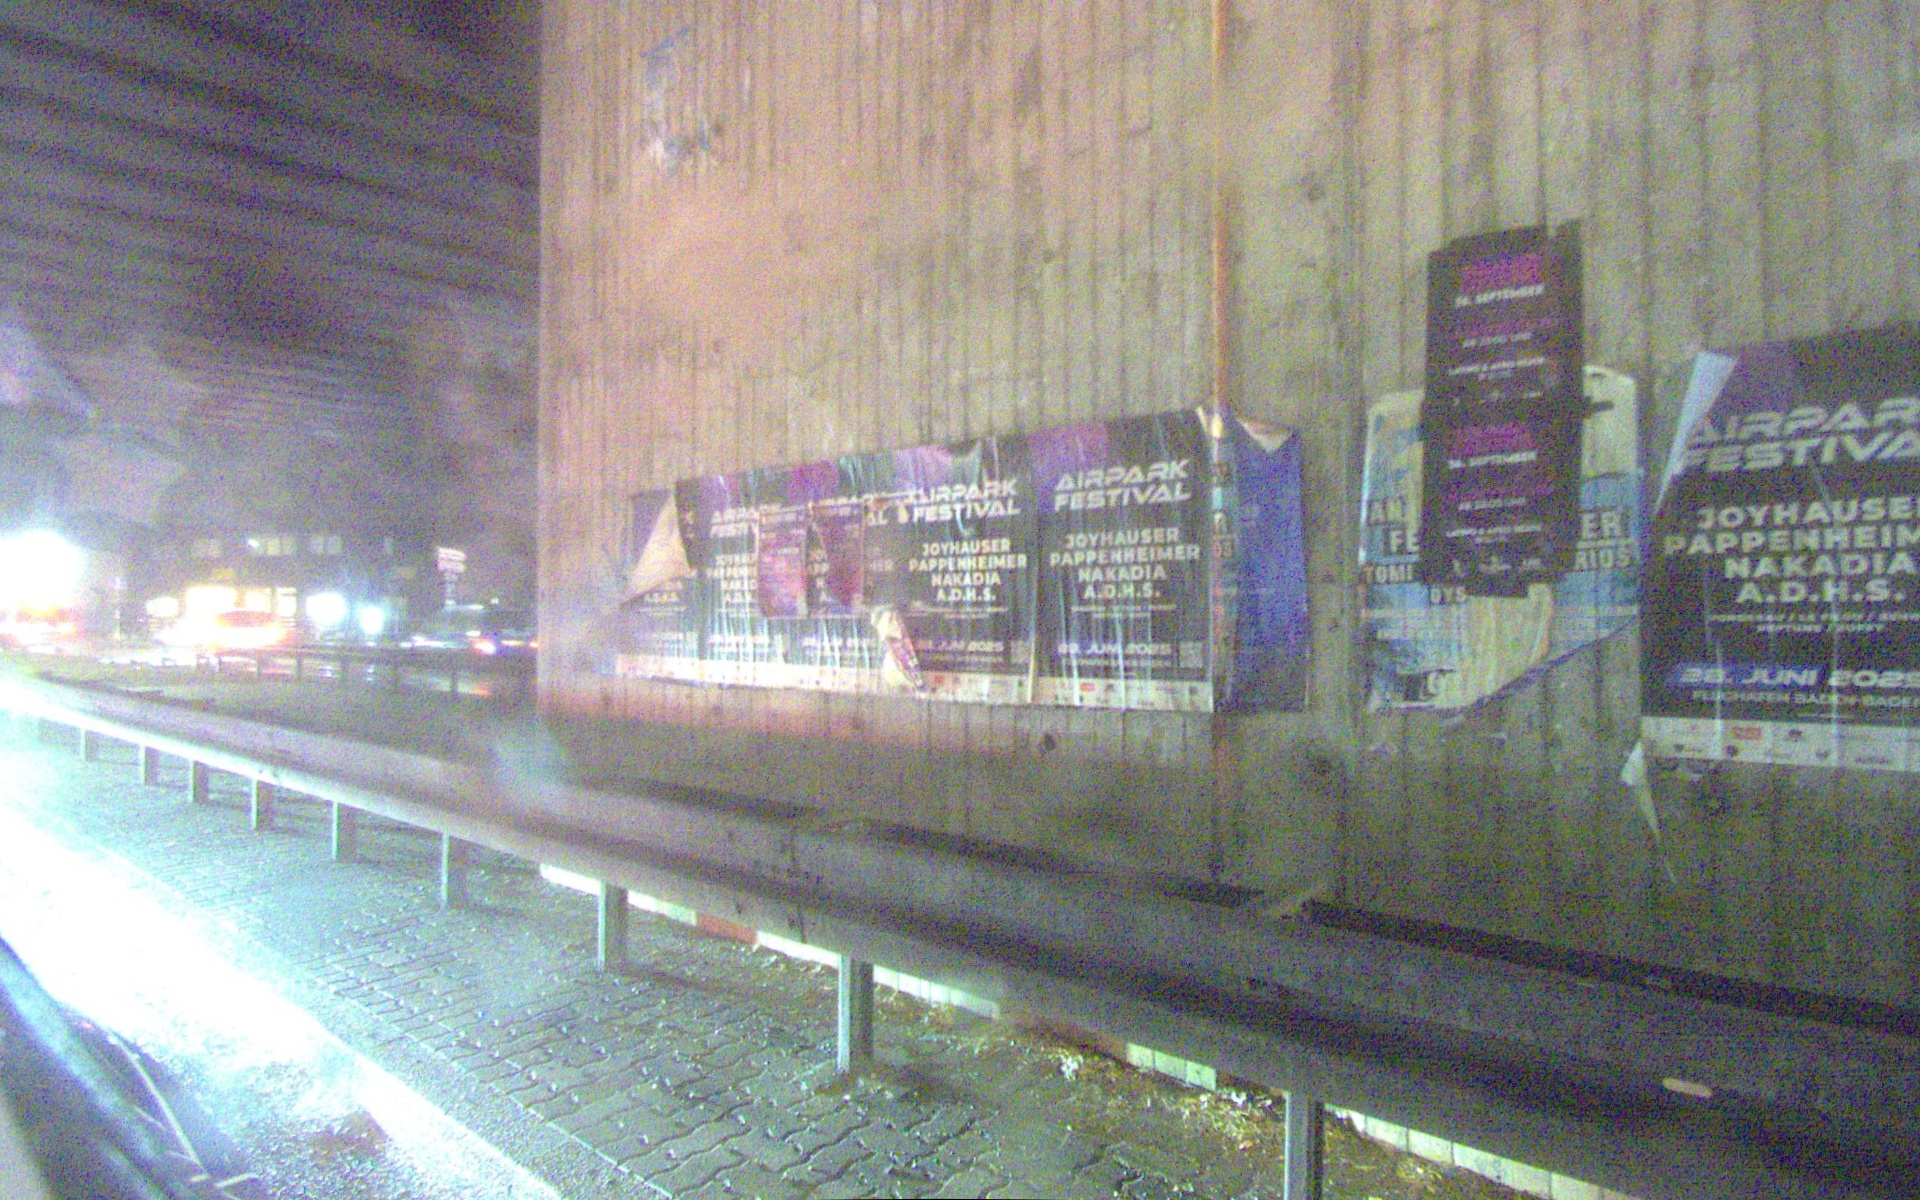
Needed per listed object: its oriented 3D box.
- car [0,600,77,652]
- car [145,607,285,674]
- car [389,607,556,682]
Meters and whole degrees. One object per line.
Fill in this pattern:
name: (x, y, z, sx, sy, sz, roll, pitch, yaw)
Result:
car: (-33.939, 0.906, 36.513, 4.905, 1.754, 1.949, -1, 0, 34)
car: (-21.247, 1.100, 28.815, 4.387, 1.754, 1.888, -1, 0, 34)
car: (-12.604, 1.083, 26.077, 4.493, 1.763, 1.839, -1, 0, 34)
